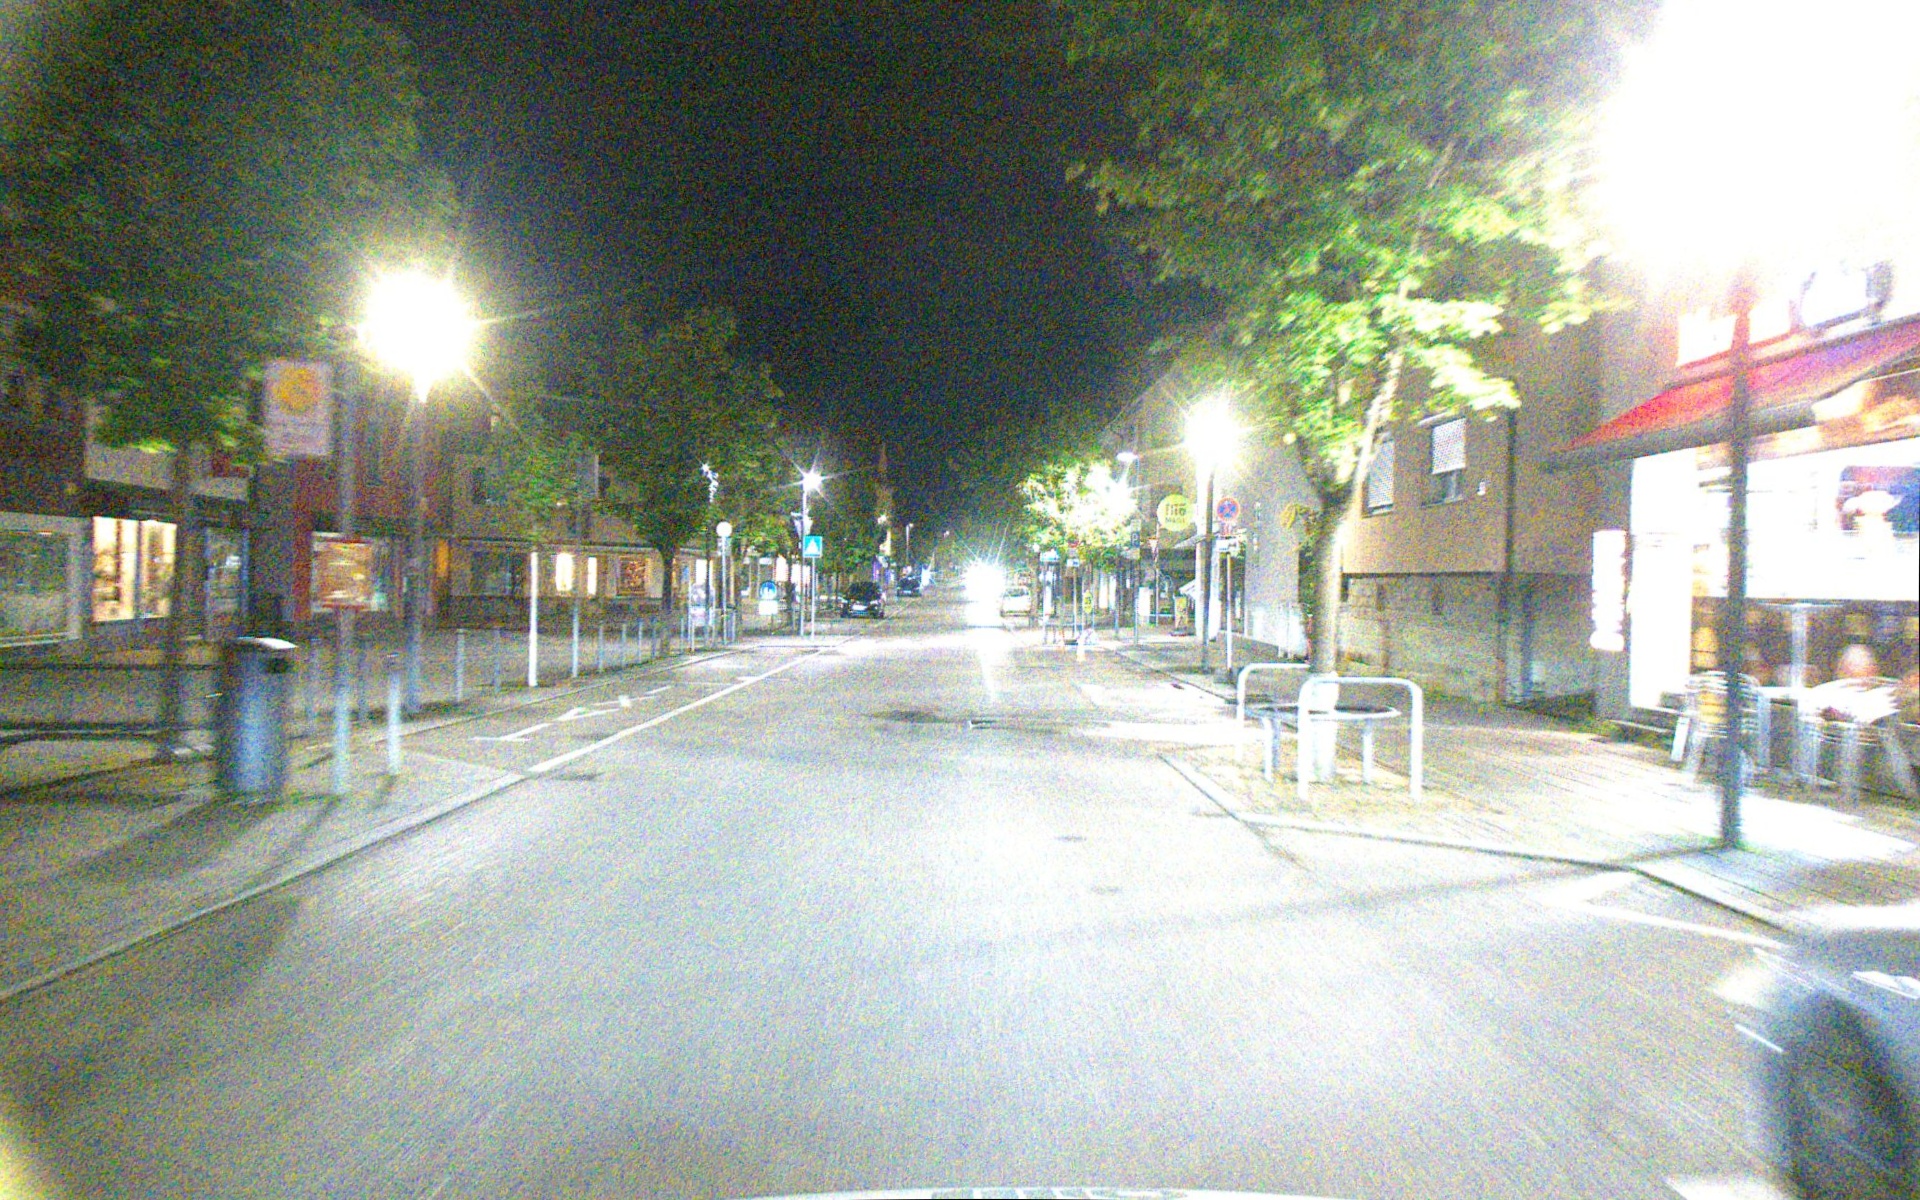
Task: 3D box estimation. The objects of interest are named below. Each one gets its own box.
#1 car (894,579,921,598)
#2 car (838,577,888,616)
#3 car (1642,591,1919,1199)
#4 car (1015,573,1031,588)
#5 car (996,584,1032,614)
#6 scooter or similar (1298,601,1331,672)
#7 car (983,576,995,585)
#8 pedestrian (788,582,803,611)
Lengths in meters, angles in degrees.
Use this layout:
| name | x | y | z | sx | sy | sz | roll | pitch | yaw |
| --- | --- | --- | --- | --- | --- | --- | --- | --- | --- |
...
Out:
| name | x | y | z | sx | sy | sz | roll | pitch | yaw |
| --- | --- | --- | --- | --- | --- | --- | --- | --- | --- |
| car | -4.207 | -0.930 | 133.489 | 1.874 | 1.394 | 4.459 | 0 | 1 | 2 |
| car | -4.617 | -0.191 | 79.420 | 1.976 | 1.720 | 5.004 | 2 | 1 | 1 |
| car | 2.816 | 0.741 | 2.165 | 1.700 | 1.466 | 4.492 | 0 | 1 | -5 |
| car | 7.081 | -2.245 | 186.838 | 1.738 | 1.681 | 4.366 | 0 | 1 | 2 |
| car | 2.761 | -0.089 | 84.843 | 1.640 | 1.485 | 3.675 | 0 | 1 | -1 |
| scooter or similar | 6.670 | 0.686 | 31.140 | 0.365 | 1.299 | 1.305 | 0 | -1 | 1 |
| car | 4.162 | -2.785 | 236.110 | 1.687 | 1.268 | 4.238 | 0 | 1 | 2 |
| pedestrian | -9.807 | -0.191 | 98.716 | 0.753 | 1.684 | 0.817 | 0 | 2 | 2 |
